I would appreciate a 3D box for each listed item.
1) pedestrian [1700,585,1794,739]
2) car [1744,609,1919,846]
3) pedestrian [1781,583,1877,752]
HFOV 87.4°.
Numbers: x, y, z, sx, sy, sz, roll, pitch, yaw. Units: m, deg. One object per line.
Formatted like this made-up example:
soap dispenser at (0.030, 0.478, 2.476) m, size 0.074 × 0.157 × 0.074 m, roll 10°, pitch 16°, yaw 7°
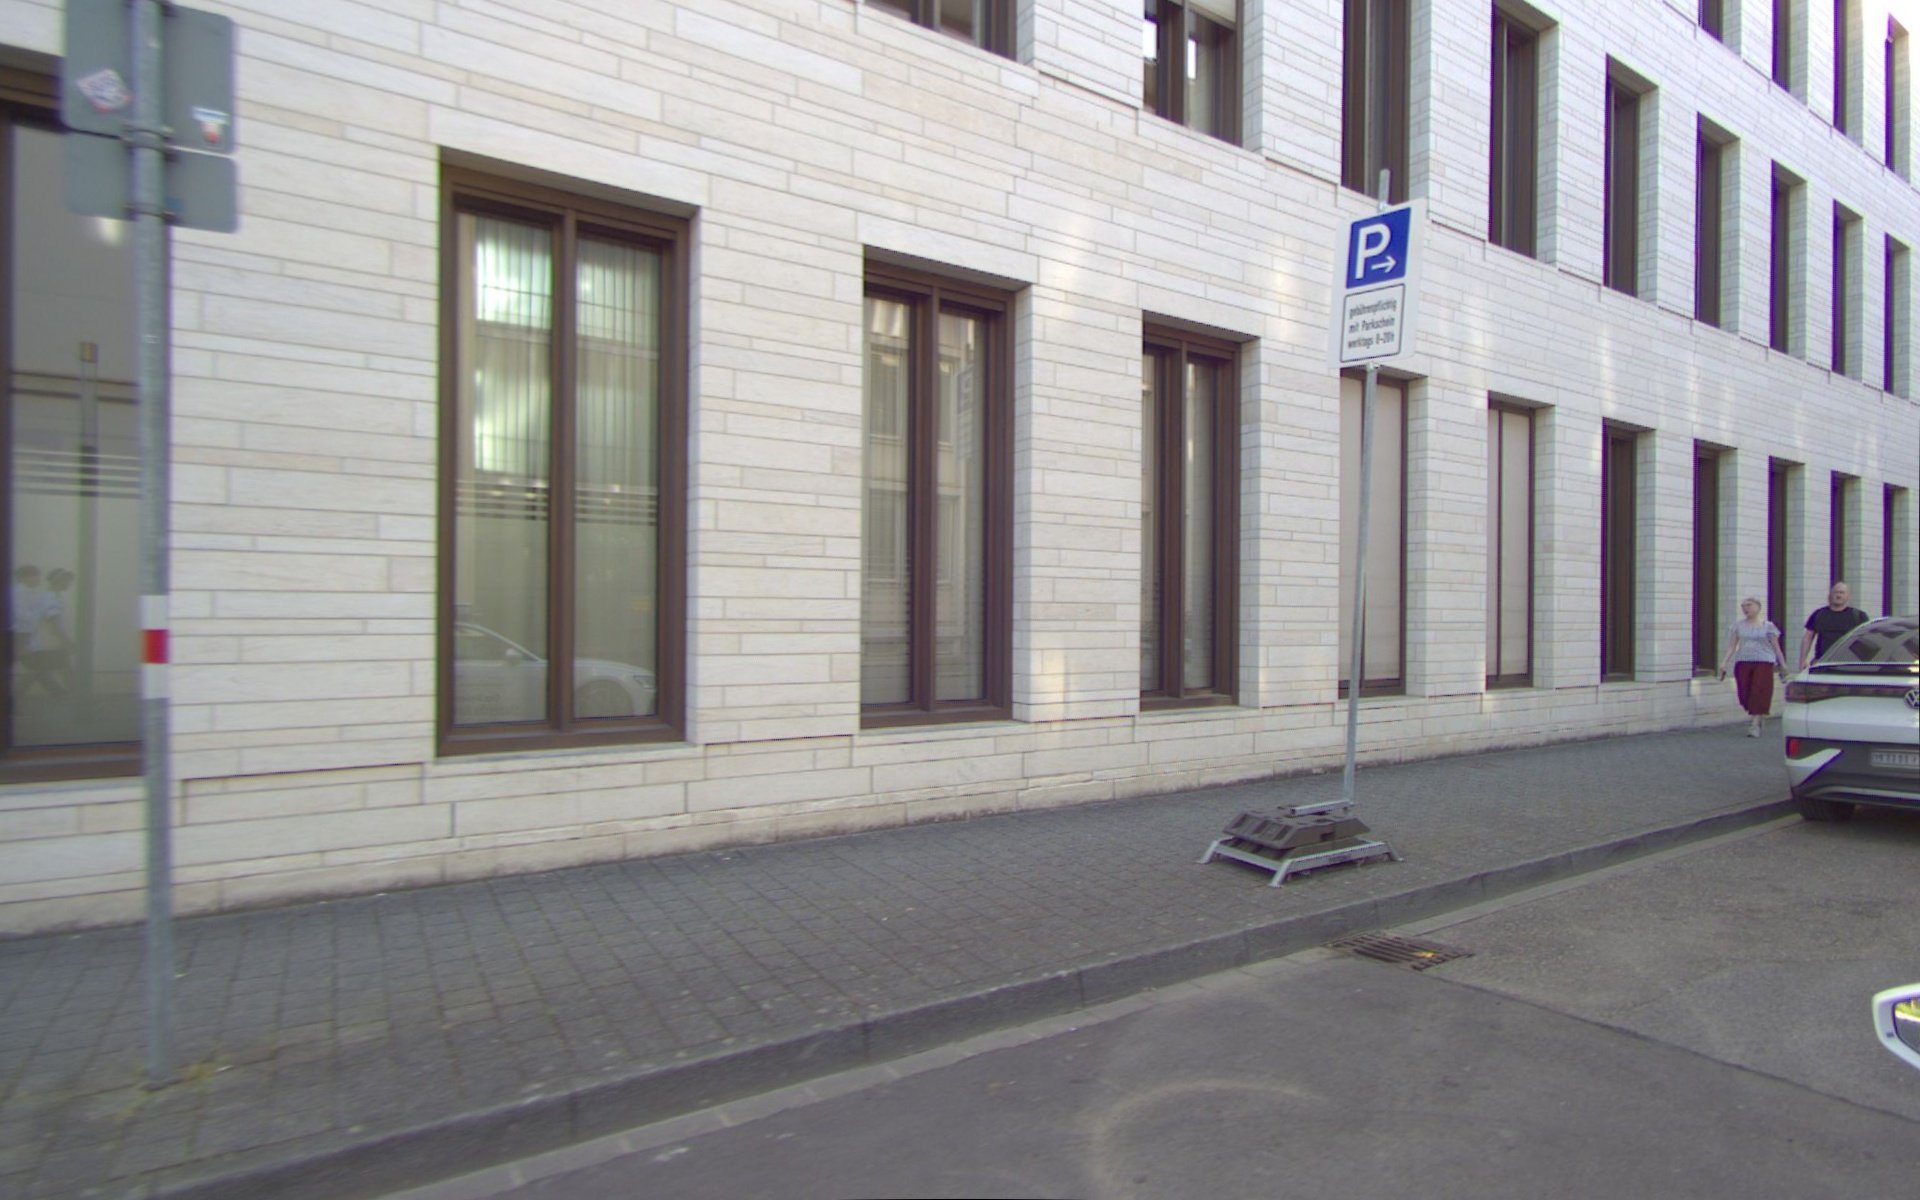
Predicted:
pedestrian at (9.673, 0.738, 12.353) m, size 0.808 × 1.813 × 0.640 m, roll 2°, pitch 0°, yaw -32°
car at (8.140, 0.856, 7.893) m, size 4.399 × 1.562 × 1.812 m, roll 0°, pitch -2°, yaw -34°
pedestrian at (9.696, 0.733, 11.213) m, size 0.569 × 1.813 × 0.638 m, roll 2°, pitch 0°, yaw -32°
